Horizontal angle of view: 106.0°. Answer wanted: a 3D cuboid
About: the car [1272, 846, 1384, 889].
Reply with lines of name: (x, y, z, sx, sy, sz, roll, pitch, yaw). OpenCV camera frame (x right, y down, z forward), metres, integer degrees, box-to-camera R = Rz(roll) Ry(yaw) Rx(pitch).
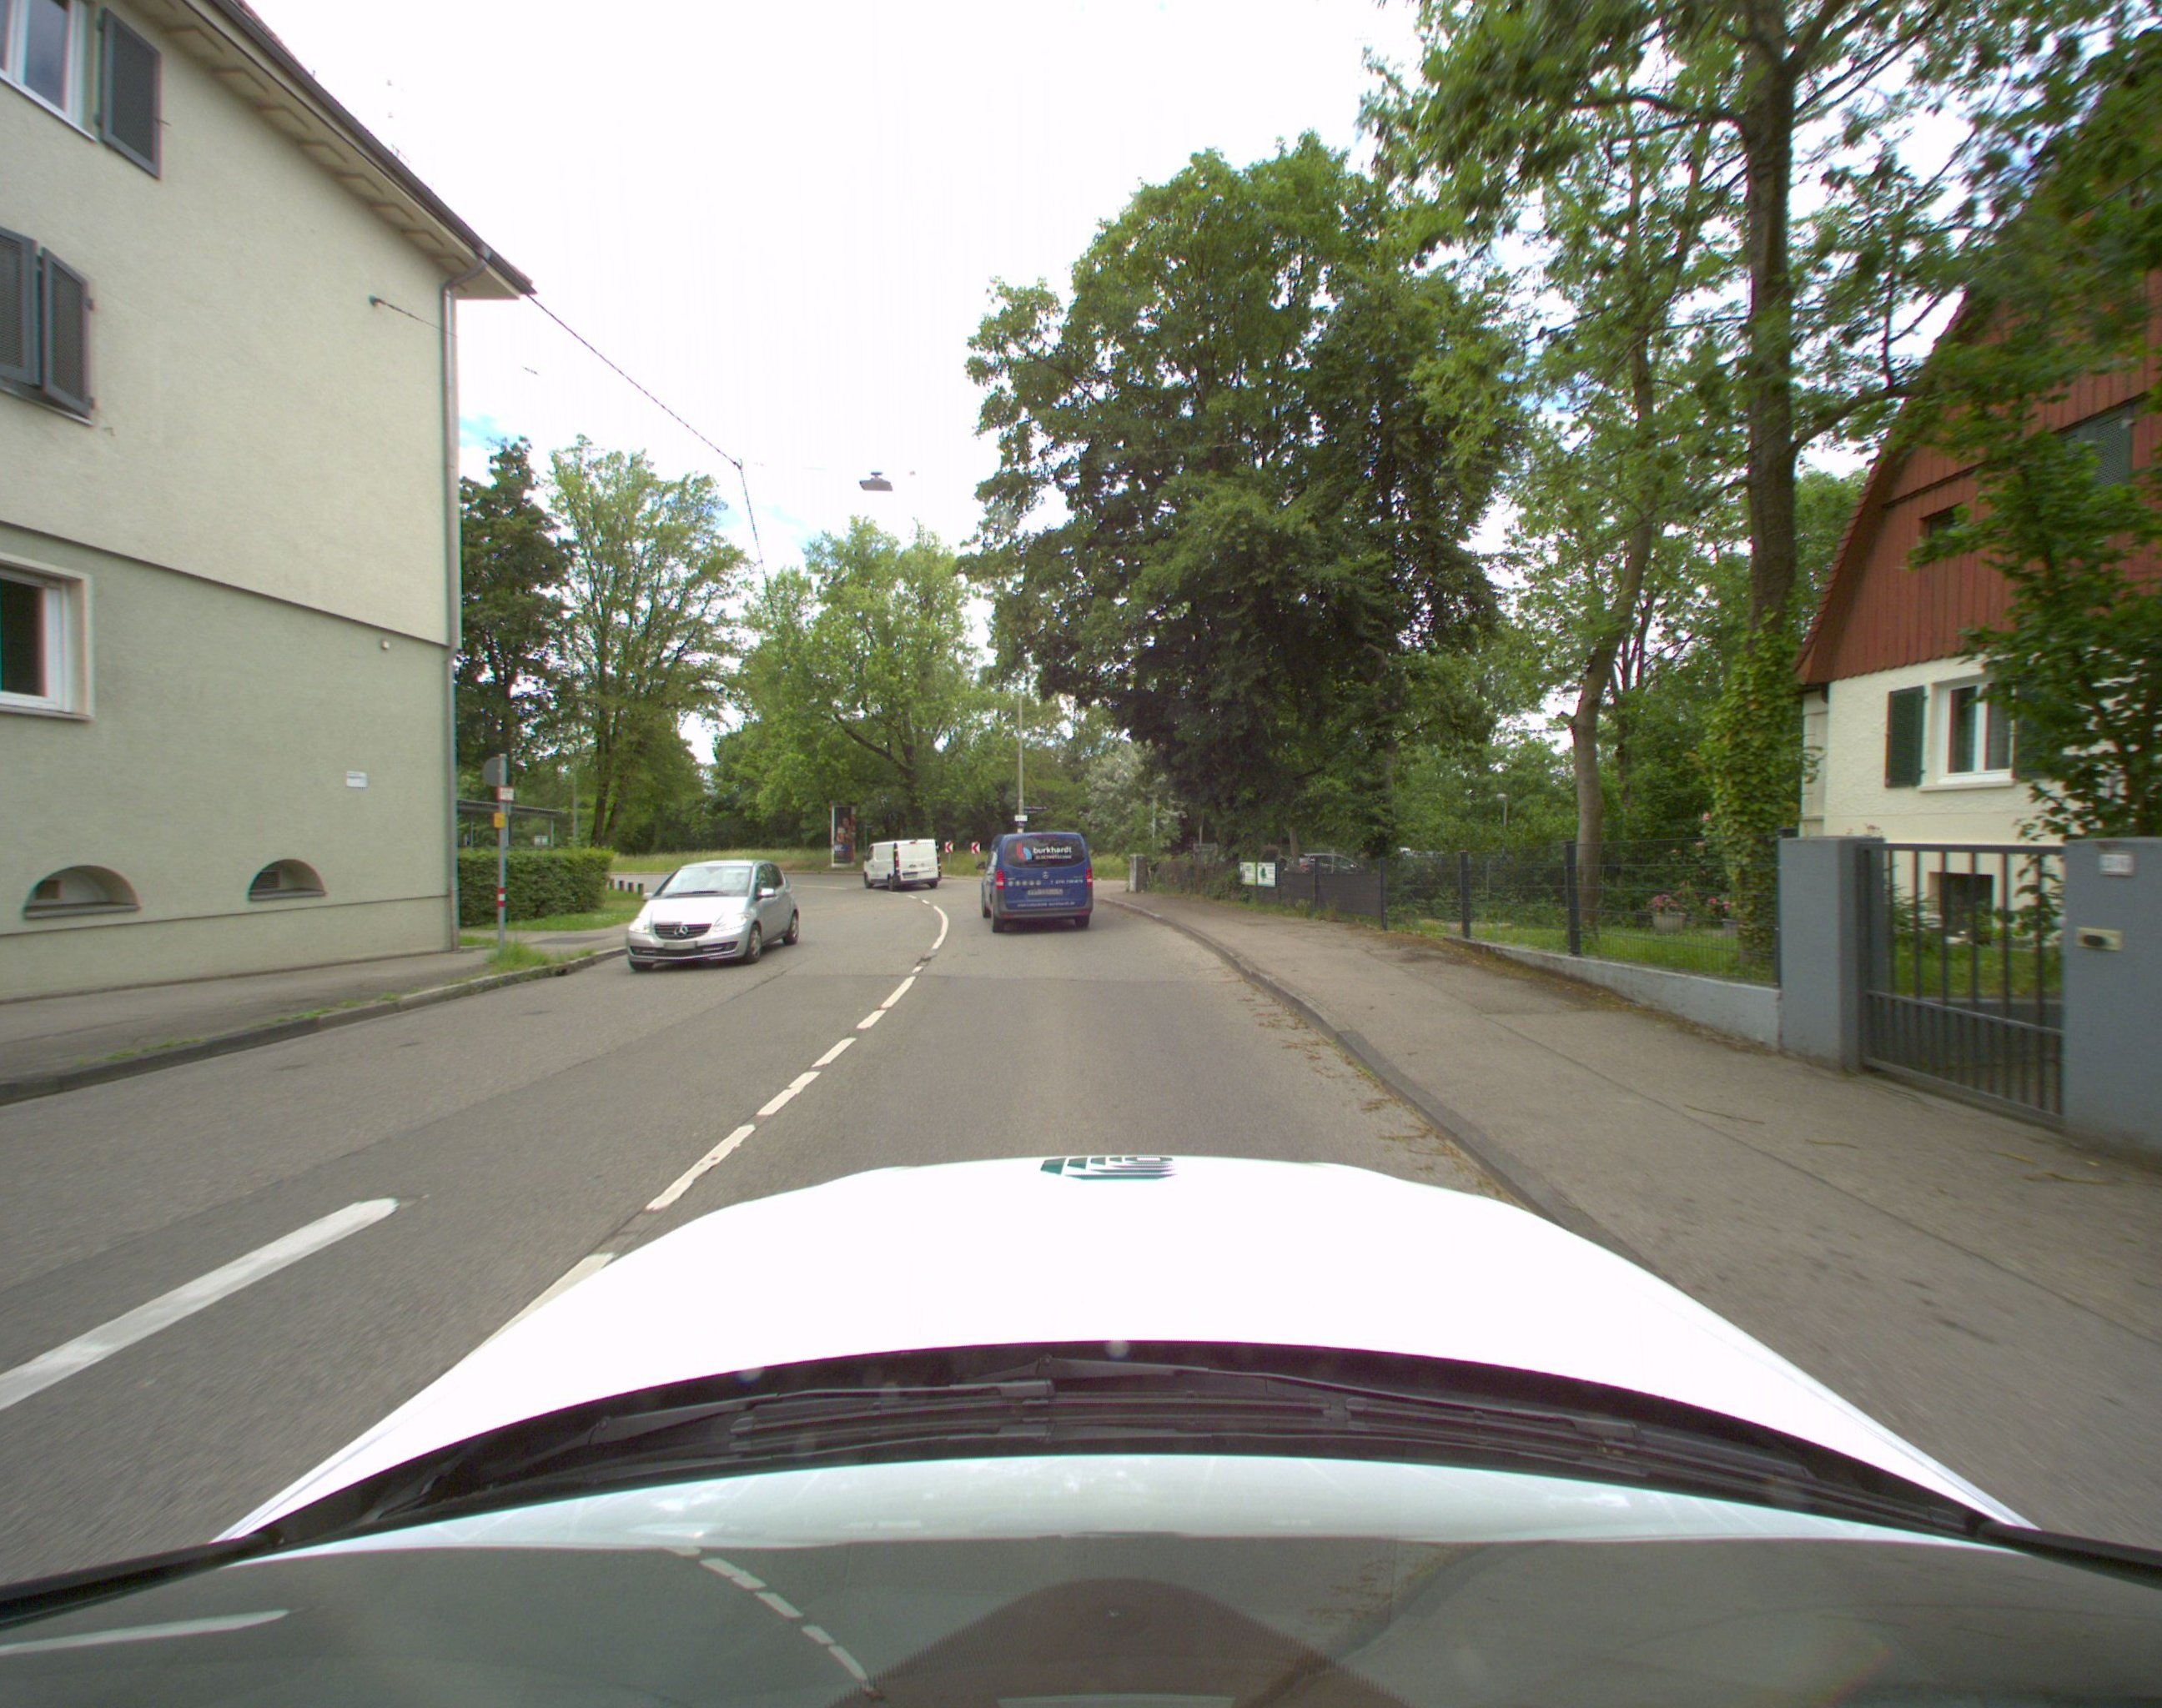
car: (9.465, 0.530, 31.322, 3.665, 1.398, 1.822, 4, -1, -15)

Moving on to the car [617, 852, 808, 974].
car: (-5.868, 0.824, 13.507, 1.721, 1.605, 3.967, -2, 1, -7)

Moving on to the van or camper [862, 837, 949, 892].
van or camper: (-7.209, 0.363, 33.003, 2.032, 1.956, 4.850, -3, 2, -29)

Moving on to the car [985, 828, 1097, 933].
car: (-0.966, 0.465, 16.852, 1.912, 1.837, 4.282, -2, 0, -8)

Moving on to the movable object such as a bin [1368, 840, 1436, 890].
movable object such as a bin: (10.527, 0.327, 26.756, 1.421, 1.547, 1.670, -1, 1, -9)

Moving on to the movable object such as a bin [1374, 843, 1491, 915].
movable object such as a bin: (9.406, 0.630, 21.984, 2.100, 1.787, 2.204, -1, 0, -6)
